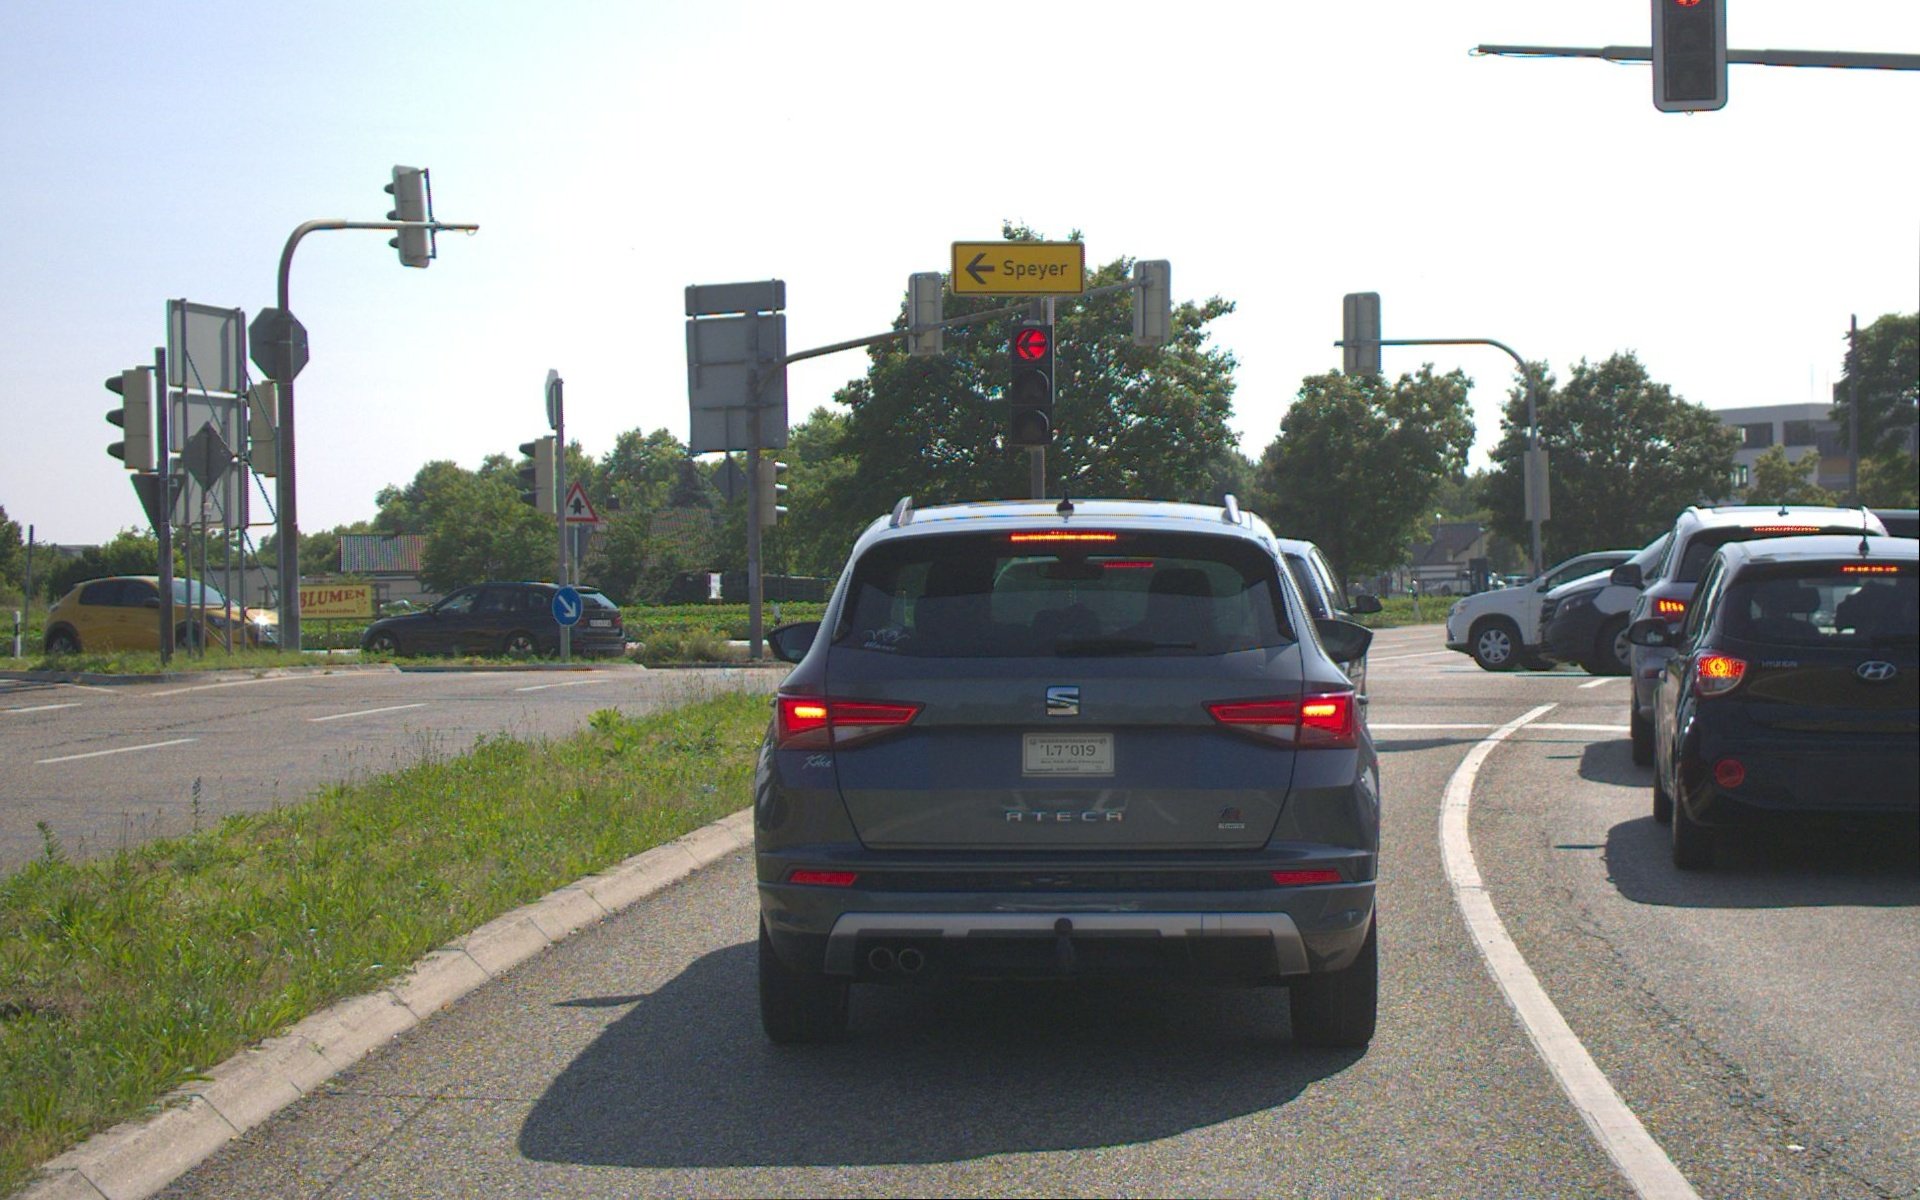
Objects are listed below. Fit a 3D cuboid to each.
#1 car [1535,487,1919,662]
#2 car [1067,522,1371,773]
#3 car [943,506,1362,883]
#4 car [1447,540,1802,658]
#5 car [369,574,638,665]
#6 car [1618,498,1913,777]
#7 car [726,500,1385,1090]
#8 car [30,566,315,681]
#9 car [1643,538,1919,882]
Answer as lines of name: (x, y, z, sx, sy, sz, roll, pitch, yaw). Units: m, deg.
car: (9.194, -0.301, 39.206, 4.931, 1.911, 2.000, 0, 1, 0)
car: (1.772, 0.262, 22.532, 1.742, 1.479, 3.623, 1, 1, 8)
car: (0.917, 0.376, 16.369, 1.742, 1.563, 3.624, 1, 1, 3)
car: (8.894, -0.015, 46.087, 4.328, 1.514, 1.805, 0, 1, 29)
car: (-7.397, 0.296, 55.628, 4.097, 1.411, 1.714, 0, 1, 29)
car: (5.230, 0.199, 22.688, 1.633, 1.671, 3.748, 1, 1, 9)
car: (0.325, 0.494, 10.948, 1.742, 1.563, 3.624, 0, 1, 2)
car: (-11.809, 0.339, 51.499, 3.994, 1.645, 1.817, 0, 1, 31)
car: (4.116, 0.439, 16.196, 1.633, 1.443, 3.294, 1, 1, 9)
